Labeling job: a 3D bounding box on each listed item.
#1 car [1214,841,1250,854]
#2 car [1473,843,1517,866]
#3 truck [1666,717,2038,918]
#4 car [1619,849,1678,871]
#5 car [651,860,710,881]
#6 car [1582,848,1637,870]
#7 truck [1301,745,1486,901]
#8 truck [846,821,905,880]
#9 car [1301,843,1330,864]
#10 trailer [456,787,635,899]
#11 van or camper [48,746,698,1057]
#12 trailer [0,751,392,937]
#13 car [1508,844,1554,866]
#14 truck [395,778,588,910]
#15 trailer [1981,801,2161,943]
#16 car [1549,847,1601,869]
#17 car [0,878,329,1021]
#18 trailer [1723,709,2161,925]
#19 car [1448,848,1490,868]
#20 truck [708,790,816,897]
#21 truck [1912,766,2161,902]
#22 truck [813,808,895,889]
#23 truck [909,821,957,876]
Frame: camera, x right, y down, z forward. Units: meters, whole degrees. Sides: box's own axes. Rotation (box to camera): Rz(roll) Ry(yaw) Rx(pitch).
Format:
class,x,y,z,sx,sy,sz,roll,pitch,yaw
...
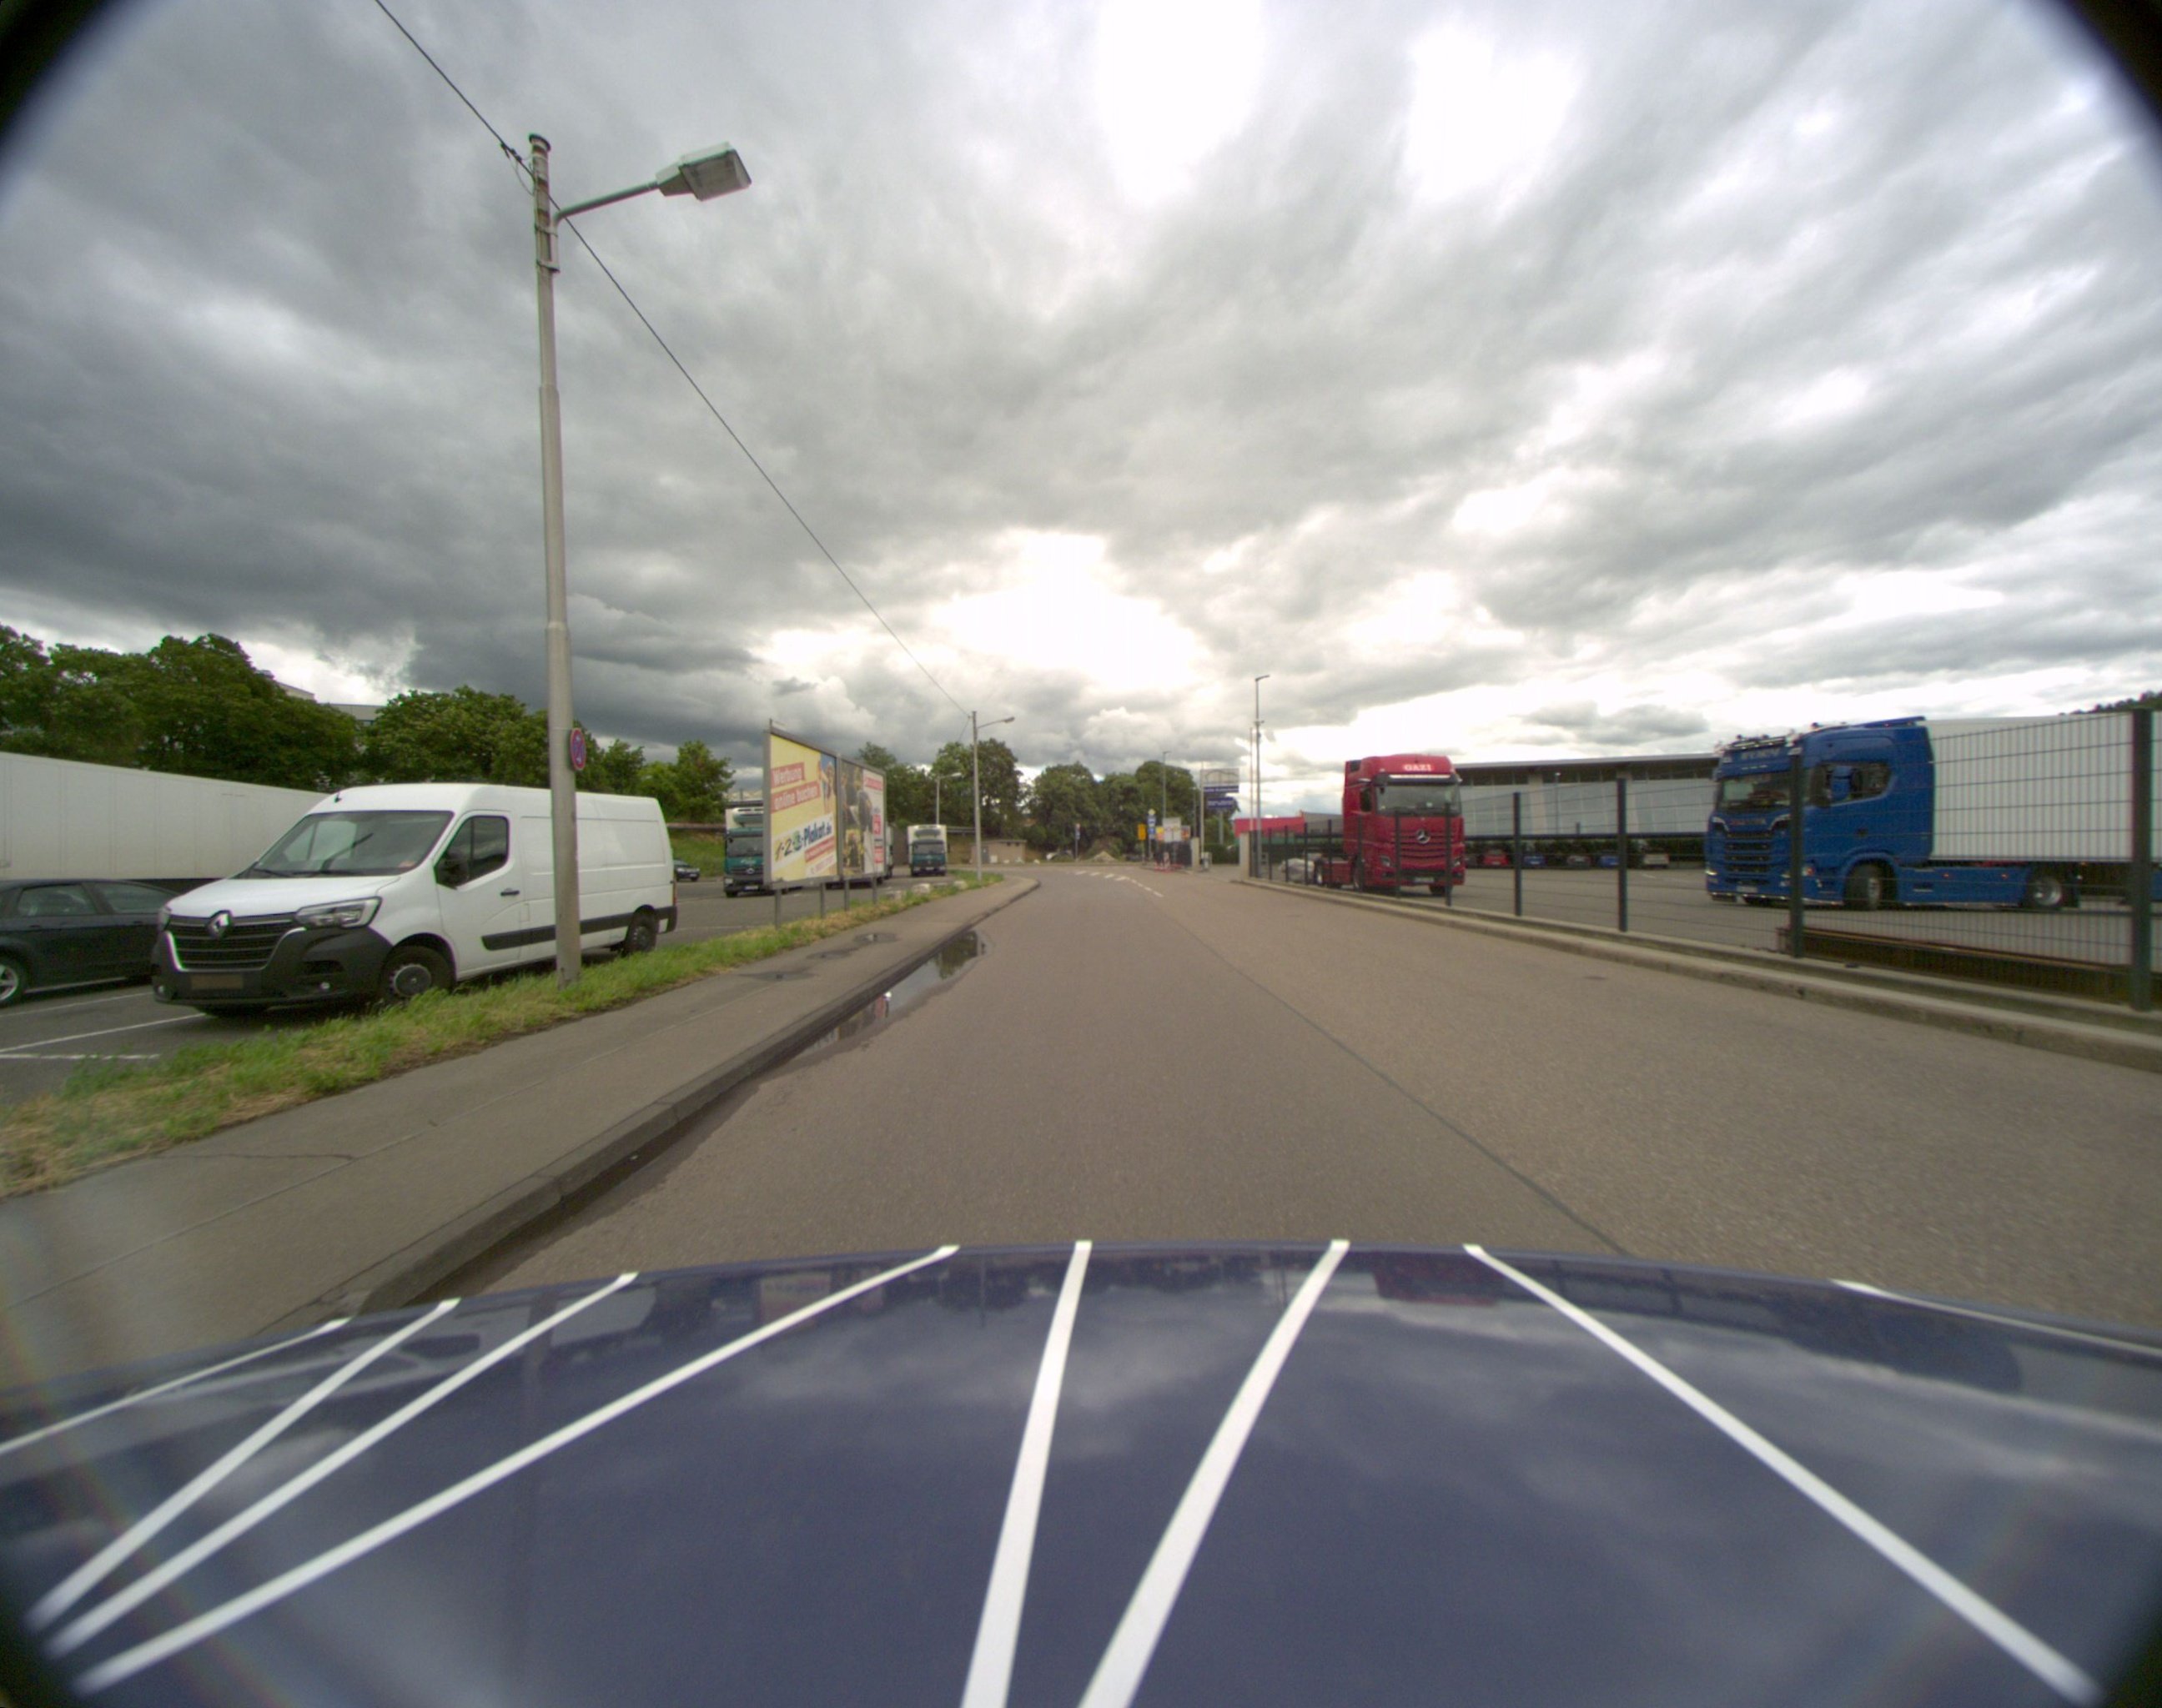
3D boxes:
class,x,y,z,sx,sy,sz,roll,pitch,yaw
car,18.087,-0.746,91.252,3.996,1.527,2.000,-1,1,4
car,31.752,0.018,58.397,1.964,1.638,4.252,0,1,15
truck,16.817,-0.773,16.867,5.614,3.997,2.929,-1,1,-6
car,40.843,0.401,54.832,1.964,1.550,4.252,0,1,15
car,-29.983,1.210,56.863,3.989,1.499,1.872,0,1,27
car,38.492,0.326,55.501,1.964,1.550,4.252,0,1,15
truck,9.108,-0.826,23.152,2.929,3.997,6.941,-1,1,2
truck,-14.183,-0.269,53.029,3.073,3.611,8.595,-4,2,-11
car,18.964,-0.057,61.508,2.070,1.660,4.252,0,1,15
trailer,-22.814,-0.325,33.488,3.067,3.953,13.080,1,-1,-20
van or camper,-7.571,0.387,9.527,2.261,2.632,6.114,-1,1,2
trailer,-26.712,-0.183,22.609,2.707,4.155,13.473,-1,0,-12
car,34.041,0.056,57.609,1.964,1.550,4.252,0,1,15
truck,-20.543,-0.310,27.191,3.076,3.978,8.022,1,0,-20
trailer,34.472,0.481,21.917,10.971,4.054,2.796,0,1,20
car,36.124,0.262,55.691,1.964,1.550,4.252,0,1,15
car,-12.949,1.172,9.783,1.894,1.437,4.429,-3,1,4
trailer,22.541,-0.742,15.682,13.987,4.159,3.040,-1,1,20
car,29.484,0.290,57.849,1.964,1.483,4.252,0,1,15
truck,-15.248,-0.529,37.272,2.990,4.408,10.544,-2,1,-13
truck,30.442,-0.589,23.387,5.911,3.906,2.806,0,1,21
truck,-12.188,-0.259,41.850,2.989,3.808,10.424,-2,0,-10
truck,-10.931,-0.451,55.560,3.074,3.610,8.594,-2,1,-13
